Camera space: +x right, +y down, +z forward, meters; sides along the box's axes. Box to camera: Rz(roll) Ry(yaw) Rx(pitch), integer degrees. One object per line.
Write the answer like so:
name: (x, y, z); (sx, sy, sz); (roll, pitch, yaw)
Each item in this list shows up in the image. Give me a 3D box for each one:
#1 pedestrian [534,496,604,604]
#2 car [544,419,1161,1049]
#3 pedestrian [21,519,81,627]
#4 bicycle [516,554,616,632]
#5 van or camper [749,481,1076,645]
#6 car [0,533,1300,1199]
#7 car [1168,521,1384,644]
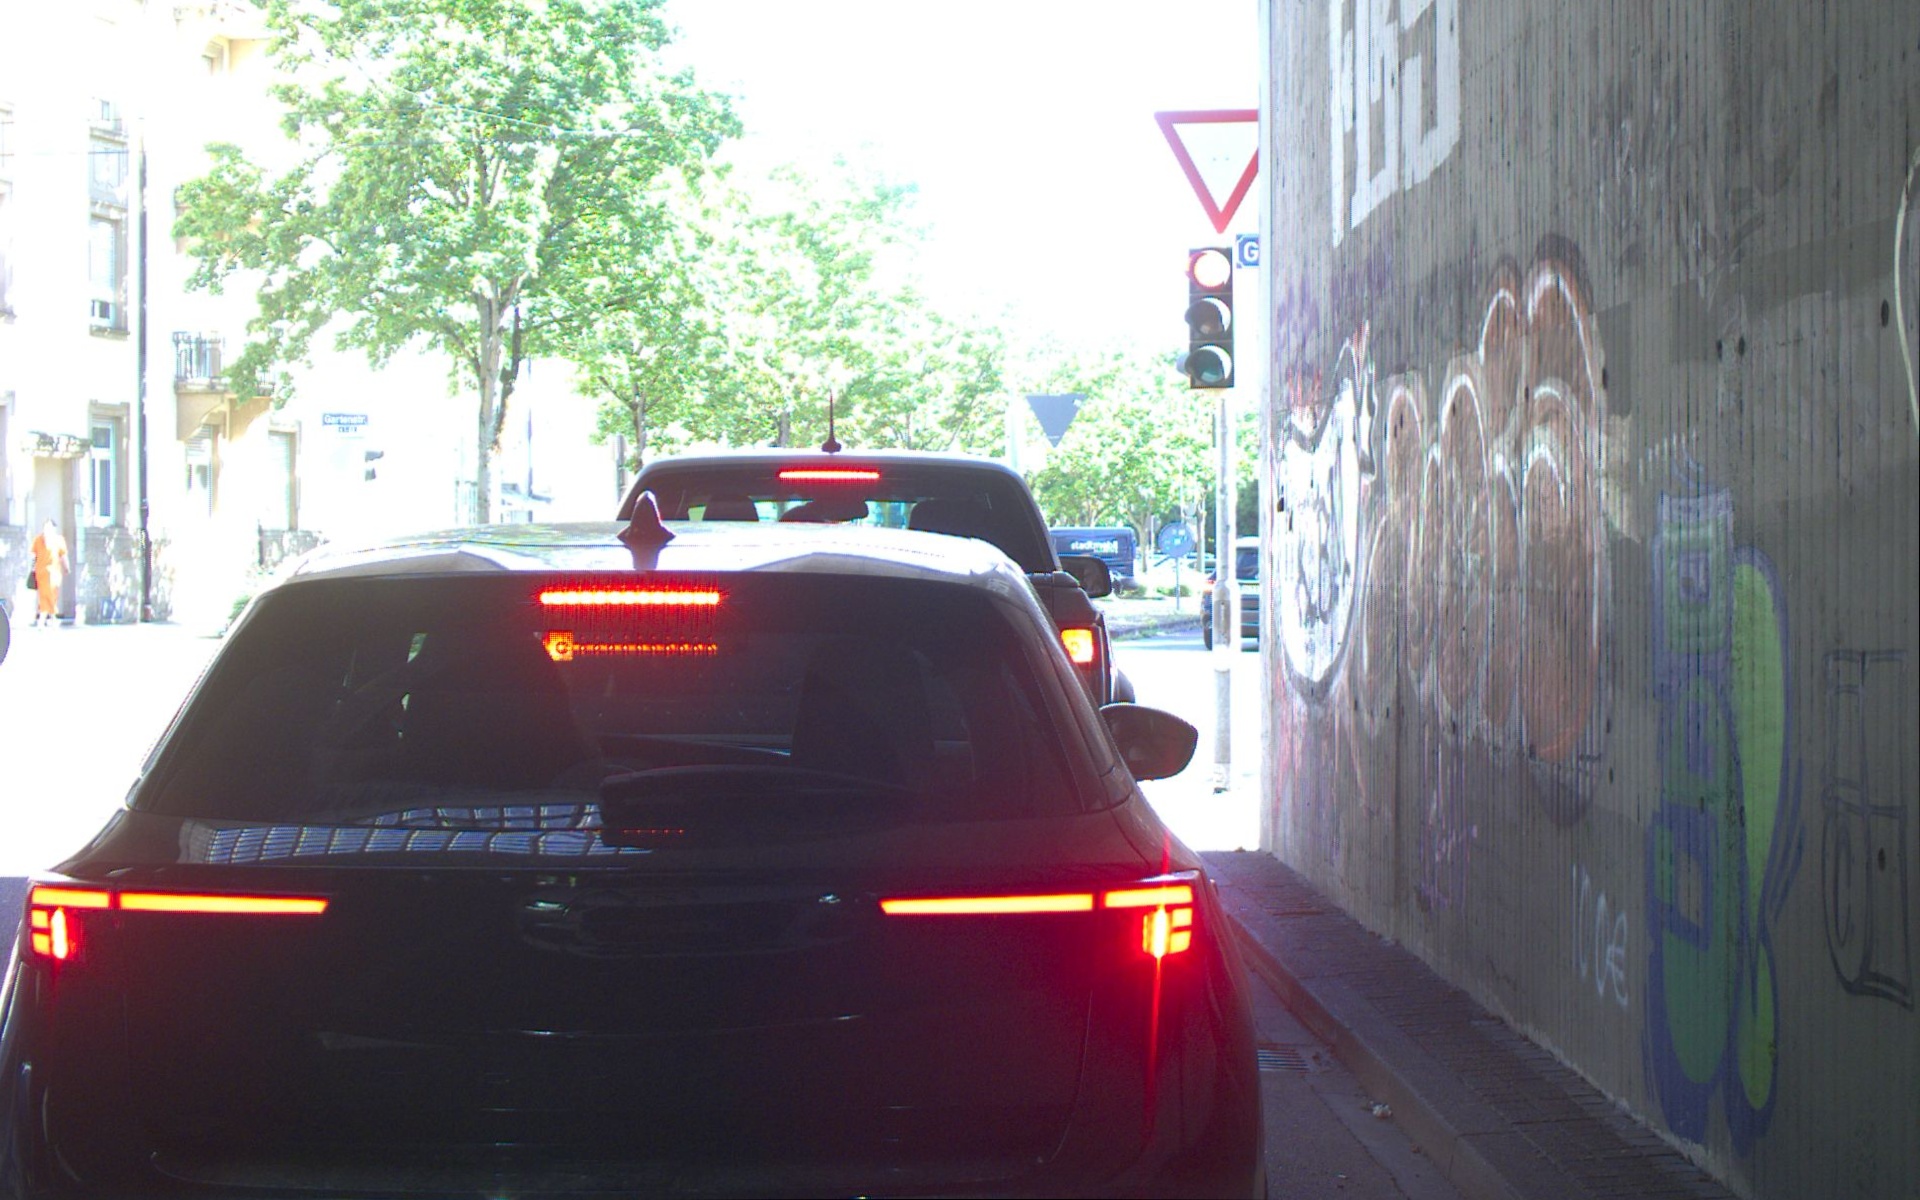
pedestrian: (-5.841, -0.747, 51.405); (0.736, 1.579, 0.889); (1, 0, 15)
car: (-0.332, 0.356, 12.046); (1.786, 1.827, 3.961); (1, 1, 0)
pedestrian: (-14.394, -0.428, 54.449); (0.623, 1.699, 0.723); (1, 0, 13)
bicycle: (-5.867, -0.114, 51.330); (0.737, 1.126, 2.025); (0, 1, 17)
van or camper: (-0.563, -0.473, 43.461); (3.878, 2.007, 2.000); (0, 1, 7)
car: (-0.488, 0.642, 6.156); (1.753, 1.493, 4.000); (1, 1, 0)
car: (4.230, -0.268, 45.322); (1.995, 1.529, 4.731); (0, 1, 16)
